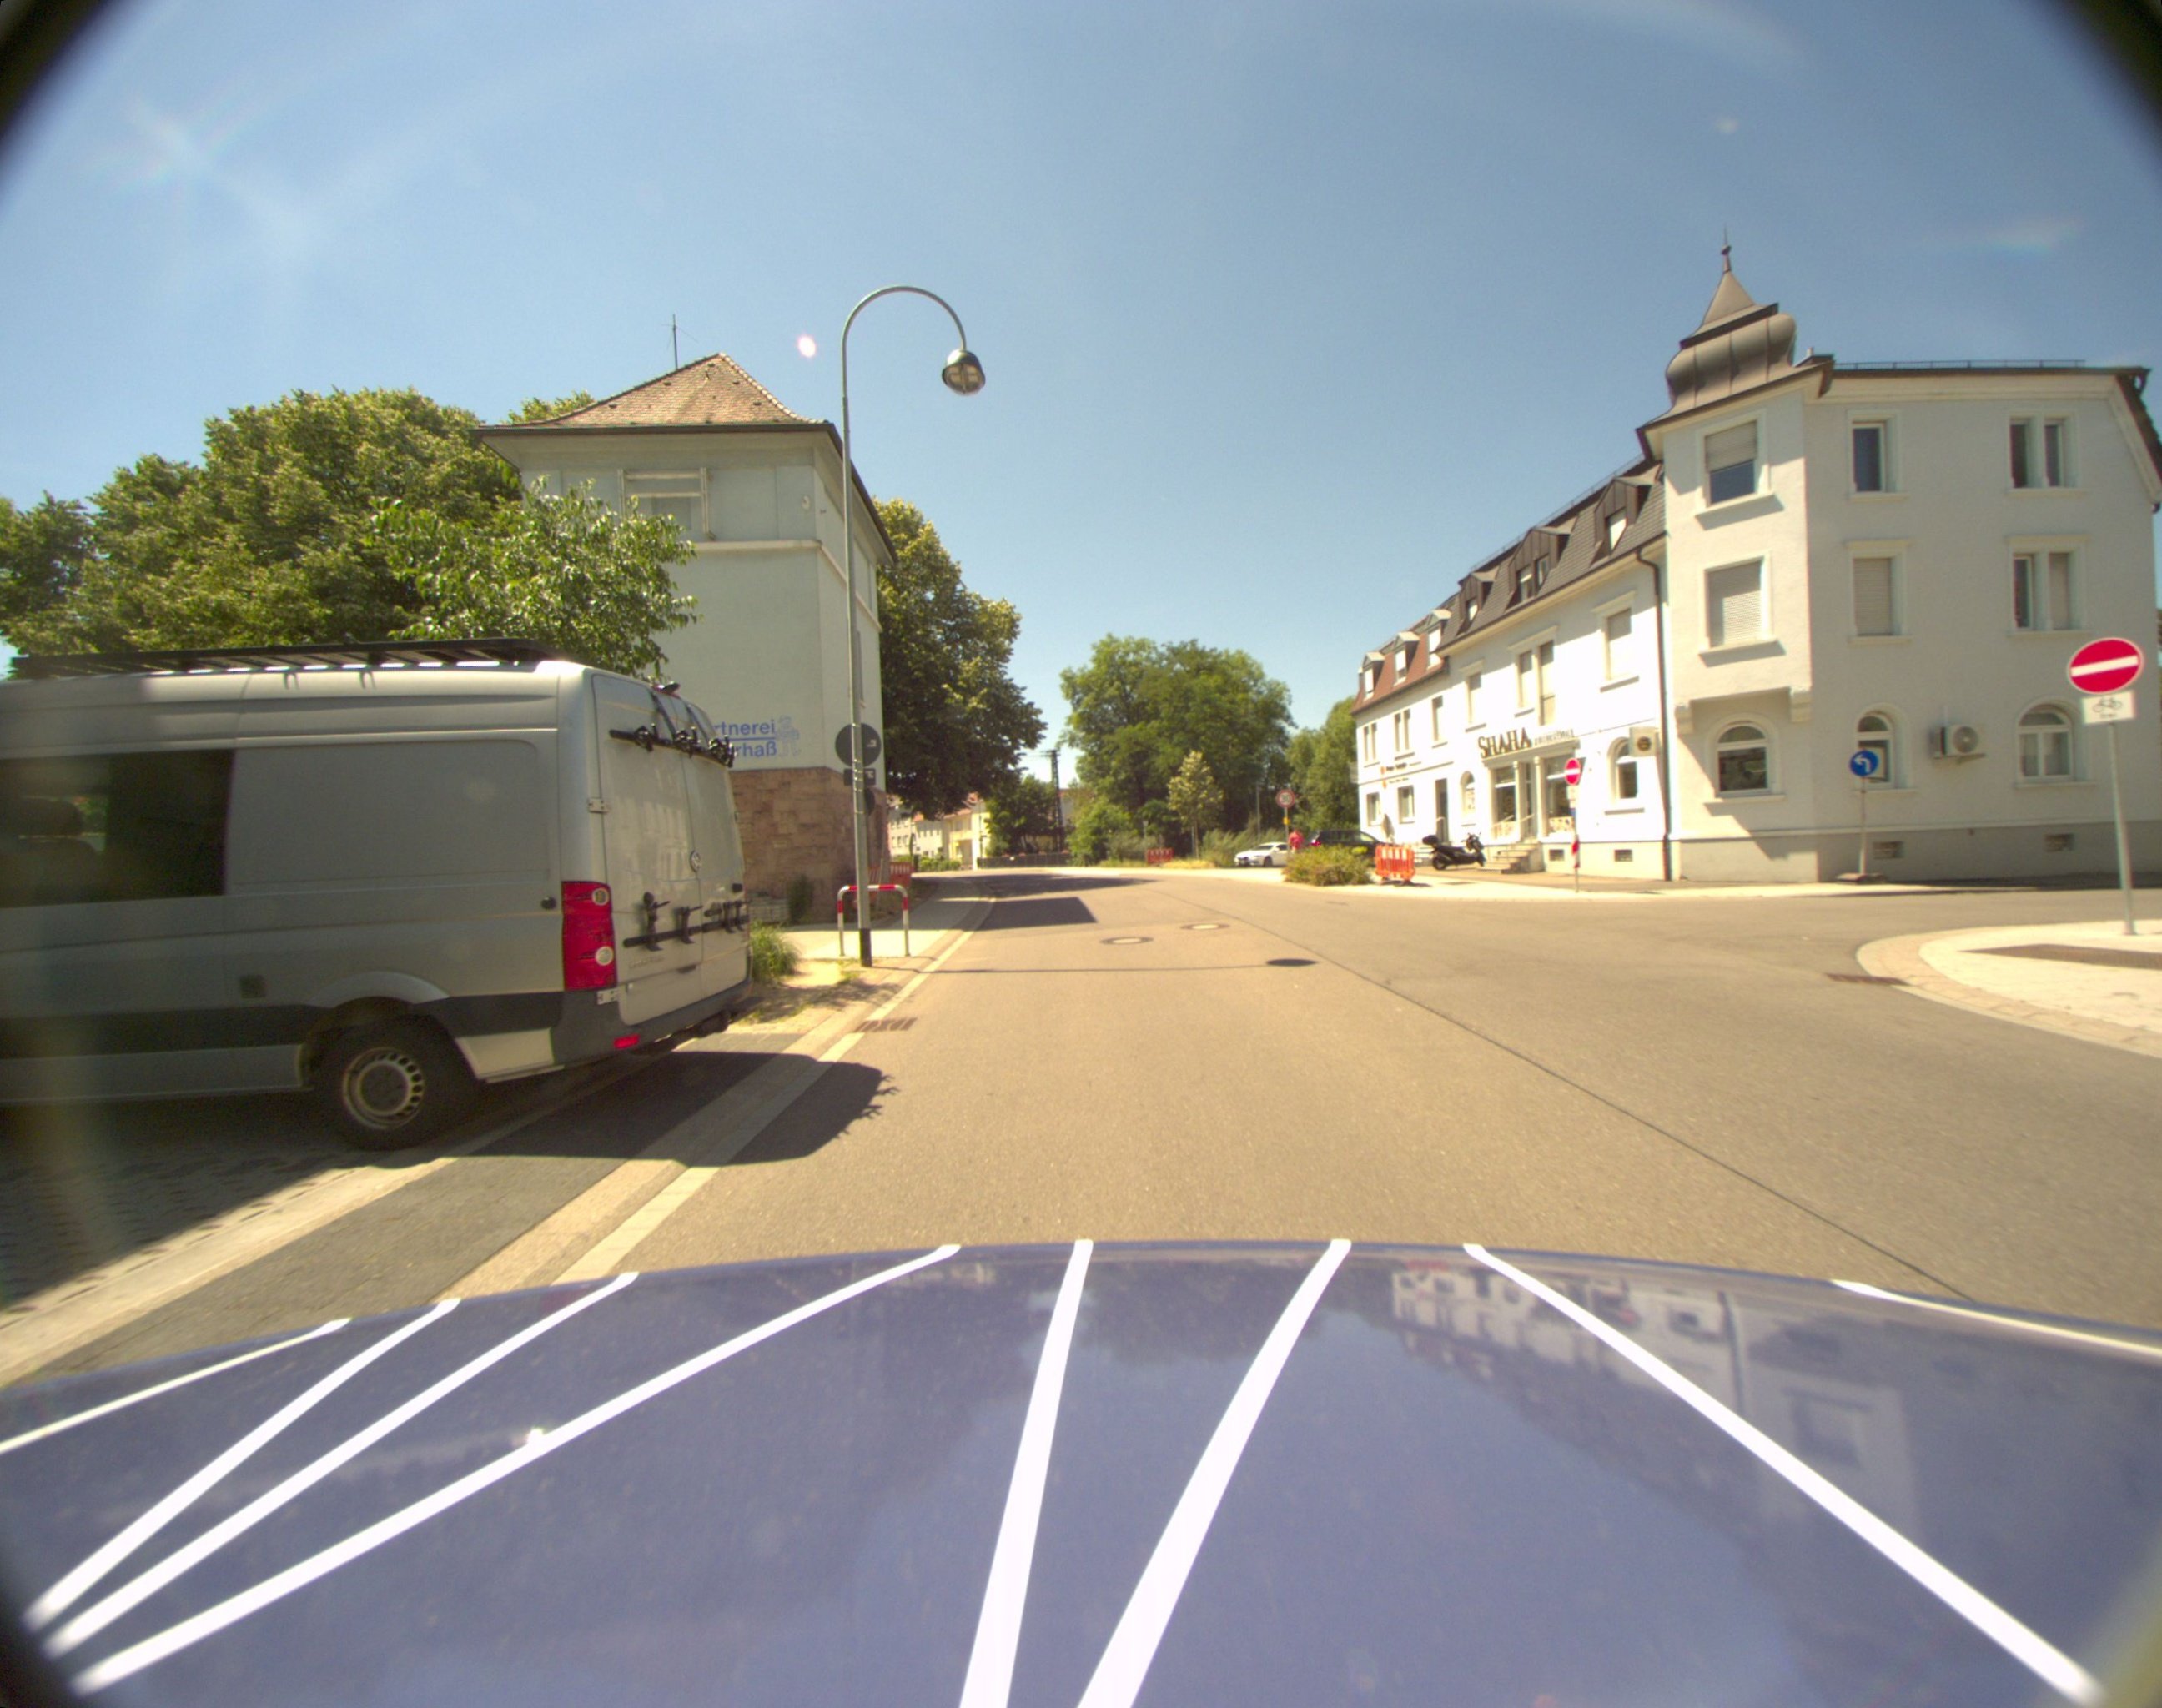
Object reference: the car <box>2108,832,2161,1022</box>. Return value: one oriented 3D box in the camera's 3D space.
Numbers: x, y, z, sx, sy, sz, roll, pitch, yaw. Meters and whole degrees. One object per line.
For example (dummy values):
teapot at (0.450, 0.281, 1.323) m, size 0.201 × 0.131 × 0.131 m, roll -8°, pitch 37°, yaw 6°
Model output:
car at (8.911, 0.576, 4.033) m, size 1.715 × 1.452 × 4.131 m, roll -4°, pitch 1°, yaw 10°

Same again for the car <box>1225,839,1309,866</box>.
car at (10.381, -0.086, 42.280) m, size 4.717 × 1.348 × 1.995 m, roll -2°, pitch 1°, yaw -37°

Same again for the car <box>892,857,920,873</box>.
car at (-19.698, 1.255, 85.375) m, size 1.886 × 1.471 × 4.728 m, roll -5°, pitch 1°, yaw -28°

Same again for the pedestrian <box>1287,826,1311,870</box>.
pedestrian at (8.932, -0.244, 31.158) m, size 0.738 × 1.744 × 0.737 m, roll -2°, pitch 1°, yaw -1°

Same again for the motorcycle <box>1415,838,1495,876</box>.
motorcycle at (13.101, 0.102, 26.666) m, size 2.401 × 1.211 × 0.833 m, roll -2°, pitch 2°, yaw -3°

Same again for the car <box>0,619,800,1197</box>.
car at (-5.210, 0.303, 4.787) m, size 5.955 × 2.717 × 2.196 m, roll -2°, pitch 1°, yaw 0°

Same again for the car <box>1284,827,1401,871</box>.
car at (10.991, -0.212, 32.080) m, size 4.192 × 1.653 × 1.970 m, roll -2°, pitch 1°, yaw -5°
